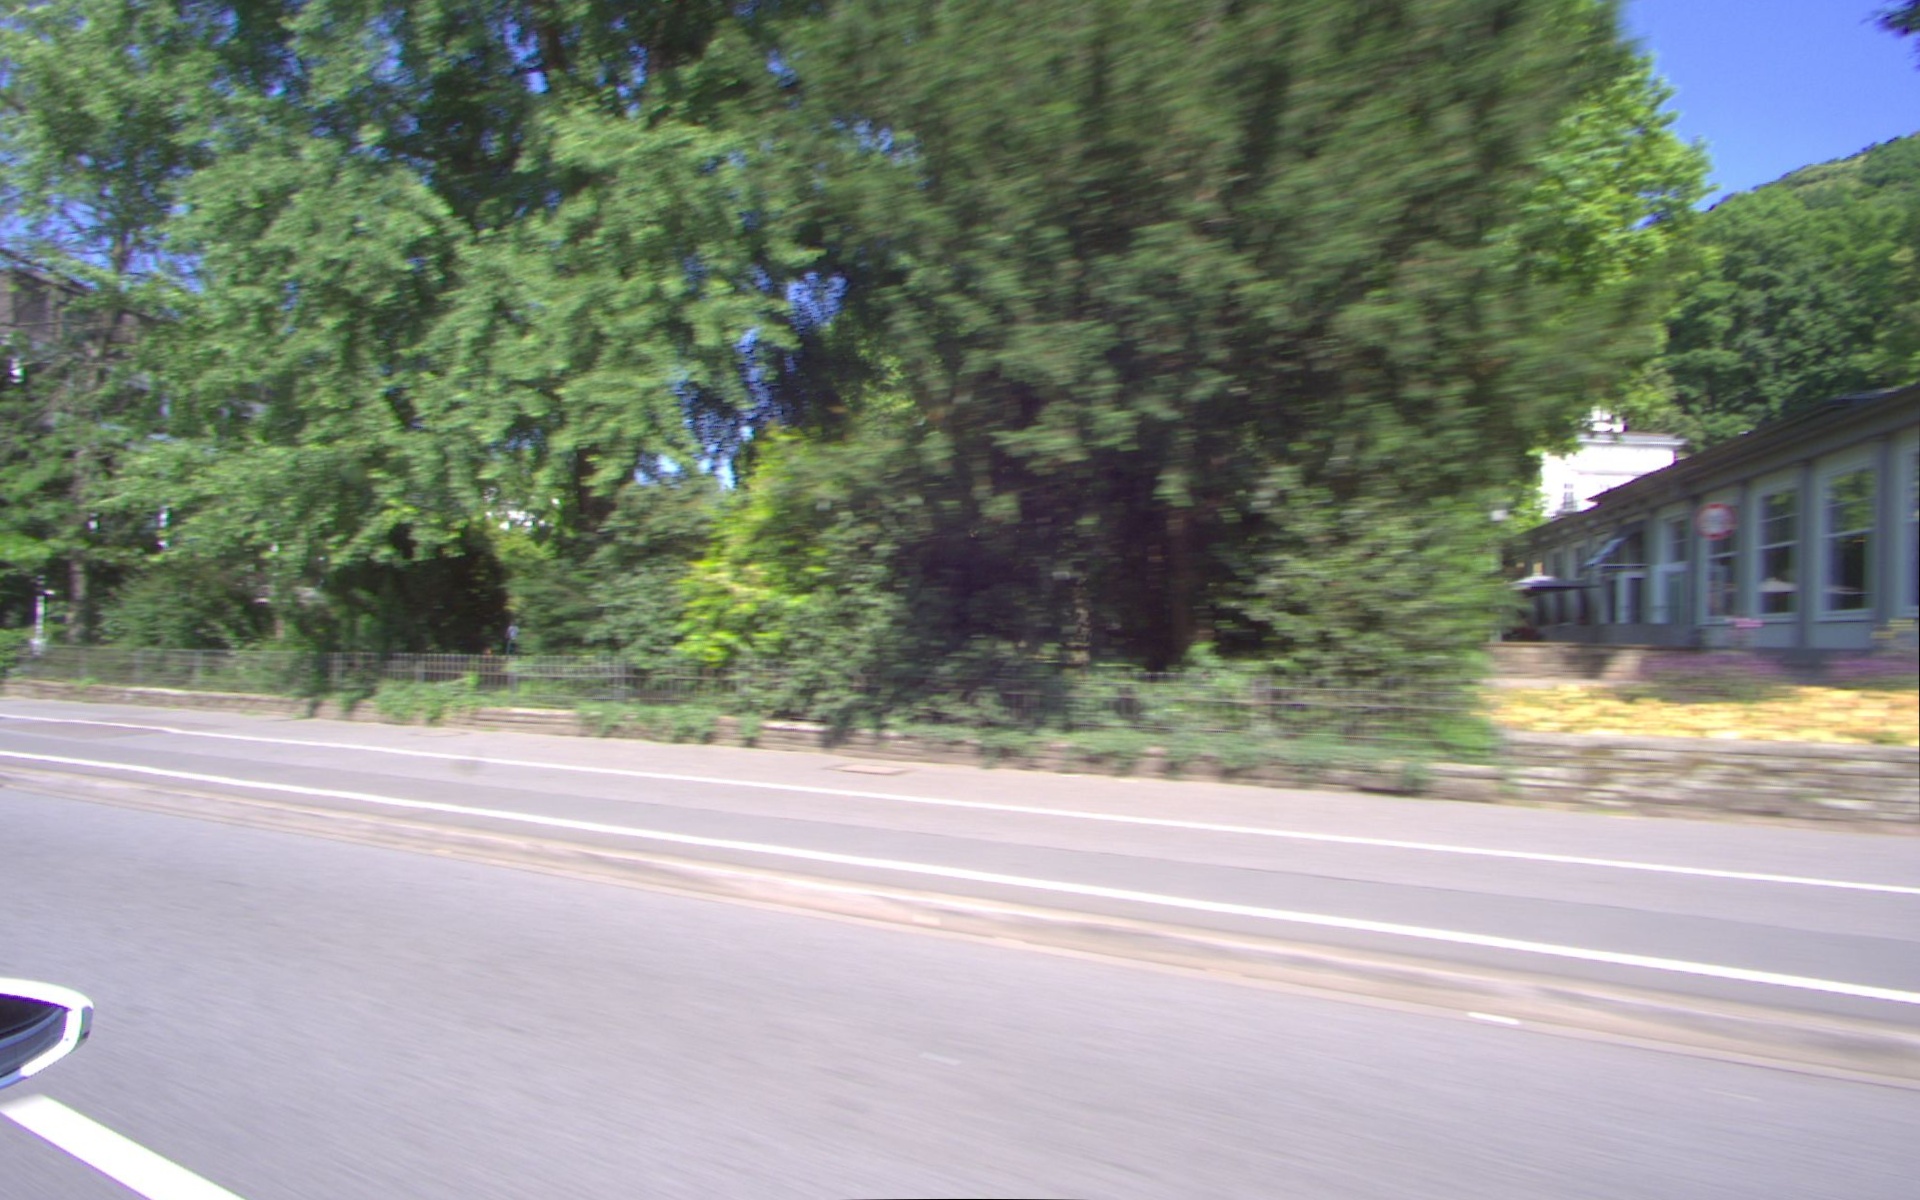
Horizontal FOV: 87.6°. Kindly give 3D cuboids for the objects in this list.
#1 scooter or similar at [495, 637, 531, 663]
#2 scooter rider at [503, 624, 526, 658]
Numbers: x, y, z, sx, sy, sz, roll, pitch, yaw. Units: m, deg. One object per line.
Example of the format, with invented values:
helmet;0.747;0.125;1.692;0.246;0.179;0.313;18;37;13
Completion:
scooter or similar;-22.690;2.533;50.833;0.806;1.315;1.695;0;-1;13
scooter rider;-22.649;2.083;50.963;0.808;1.693;0.709;0;-1;14
